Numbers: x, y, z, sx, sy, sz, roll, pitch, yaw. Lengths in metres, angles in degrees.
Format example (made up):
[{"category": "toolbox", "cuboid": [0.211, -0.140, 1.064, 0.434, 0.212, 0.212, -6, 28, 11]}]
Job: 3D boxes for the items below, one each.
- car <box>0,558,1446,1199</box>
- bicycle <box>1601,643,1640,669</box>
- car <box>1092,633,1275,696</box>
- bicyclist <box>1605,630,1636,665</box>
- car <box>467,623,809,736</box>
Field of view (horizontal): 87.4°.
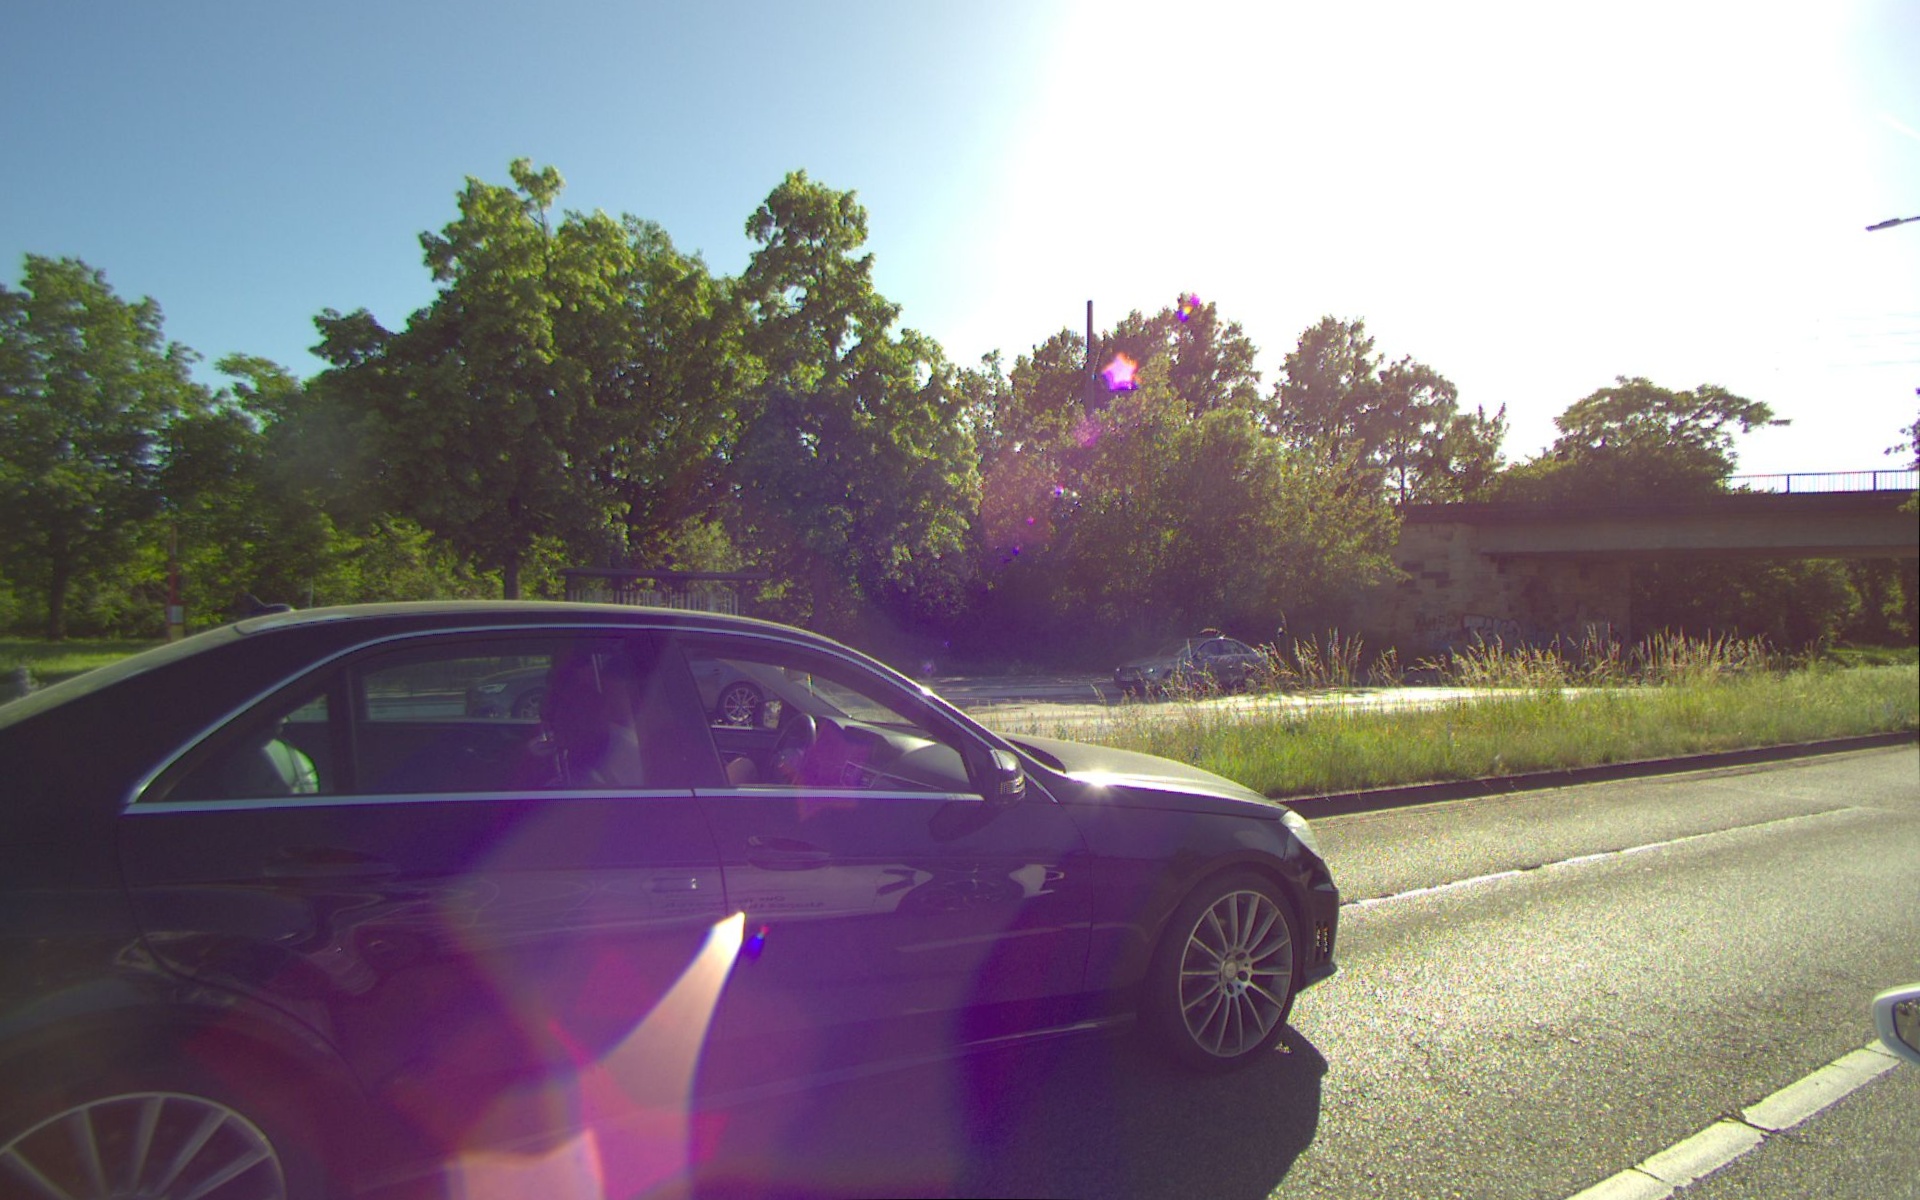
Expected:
[{"category": "car", "cuboid": [-0.869, 0.720, 3.173, 4.860, 1.502, 1.950, 1, -1, -30]}, {"category": "bicycle", "cuboid": [27.660, 2.346, 42.044, 1.695, 1.044, 0.680, 2, 0, -31]}, {"category": "car", "cuboid": [5.688, 1.609, 25.433, 4.438, 1.473, 1.905, 2, -4, -31]}, {"category": "bicyclist", "cuboid": [27.634, 1.991, 42.020, 1.015, 1.420, 0.677, 1, 0, -31]}, {"category": "car", "cuboid": [-4.708, 1.137, 14.924, 4.577, 1.453, 1.809, 2, -4, -31]}]
